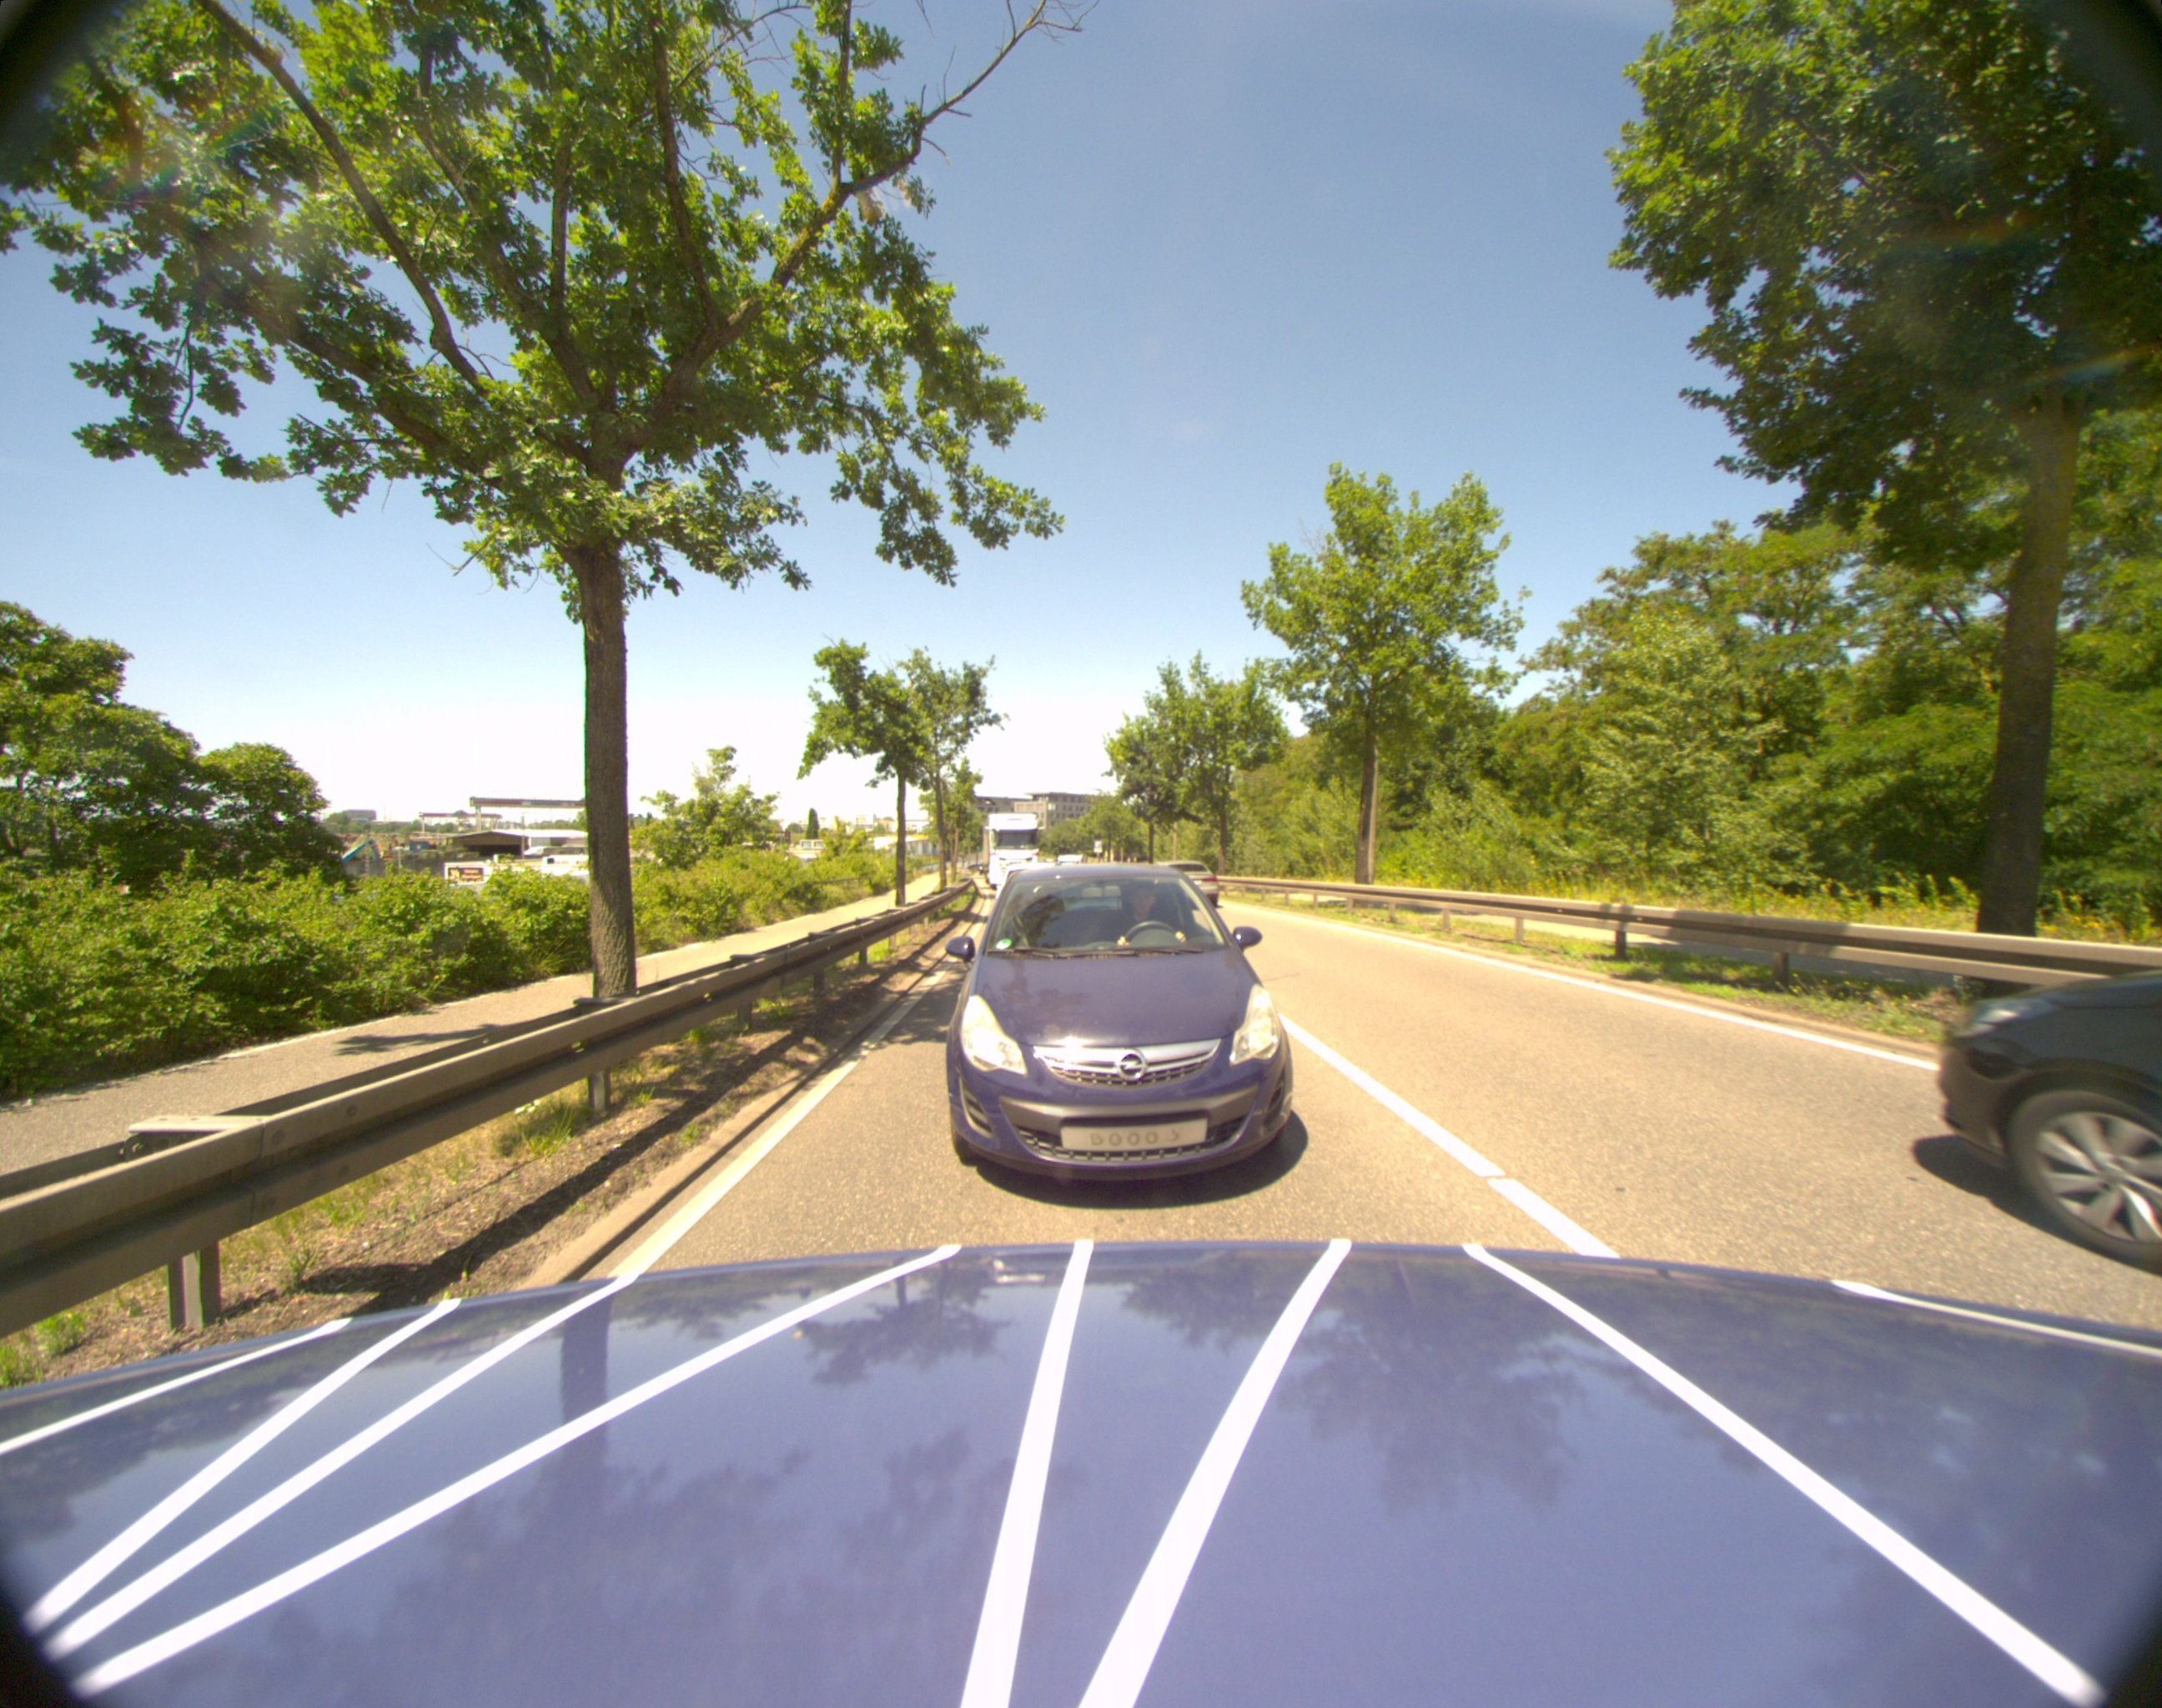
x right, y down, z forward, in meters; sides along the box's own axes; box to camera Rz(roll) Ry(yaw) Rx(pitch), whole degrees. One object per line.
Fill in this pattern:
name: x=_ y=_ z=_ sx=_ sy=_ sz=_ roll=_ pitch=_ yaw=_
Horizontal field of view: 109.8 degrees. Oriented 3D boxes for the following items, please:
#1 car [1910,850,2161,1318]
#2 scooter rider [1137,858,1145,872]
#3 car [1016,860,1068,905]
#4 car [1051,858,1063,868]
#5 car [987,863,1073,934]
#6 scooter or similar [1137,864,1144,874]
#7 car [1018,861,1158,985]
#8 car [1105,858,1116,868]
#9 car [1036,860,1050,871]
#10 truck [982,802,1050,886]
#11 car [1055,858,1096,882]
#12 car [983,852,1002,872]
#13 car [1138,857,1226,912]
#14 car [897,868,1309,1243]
car: x=4.255 y=0.732 z=1.225 sx=1.675 sy=1.457 sz=3.820 roll=-2 pitch=0 yaw=1
scooter rider: x=7.255 y=1.328 z=91.756 sx=0.778 sy=1.648 sz=1.121 roll=-2 pitch=1 yaw=6
car: x=-1.601 y=1.073 z=30.068 sx=1.781 sy=1.569 sz=3.997 roll=-2 pitch=0 yaw=-6
car: x=-3.456 y=1.338 z=110.488 sx=1.561 sy=1.364 sz=3.887 roll=-2 pitch=0 yaw=-3
car: x=-1.209 y=0.971 z=18.284 sx=1.781 sy=1.398 sz=3.998 roll=-2 pitch=0 yaw=-4
scooter or similar: x=7.235 y=1.796 z=91.764 sx=0.778 sy=1.085 sz=1.095 roll=-2 pitch=1 yaw=3
car: x=0.089 y=0.922 z=11.920 sx=1.780 sy=1.498 sz=3.896 roll=-2 pitch=0 yaw=0
car: x=5.041 y=1.451 z=129.620 sx=1.753 sy=1.546 sz=4.127 roll=-2 pitch=0 yaw=3
car: x=-7.193 y=2.168 z=143.579 sx=1.779 sy=2.002 sz=4.002 roll=-2 pitch=0 yaw=9
truck: x=-4.344 y=-0.522 z=46.652 sx=3.072 sy=4.146 sz=16.898 roll=-2 pitch=0 yaw=-8
car: x=-0.401 y=0.999 z=49.337 sx=1.825 sy=1.413 sz=4.462 roll=-2 pitch=0 yaw=-11
car: x=-9.228 y=0.810 z=78.814 sx=1.781 sy=2.002 sz=3.997 roll=-2 pitch=0 yaw=-8
car: x=2.940 y=0.848 z=23.034 sx=1.764 sy=1.388 sz=4.404 roll=-2 pitch=0 yaw=-4
car: x=0.081 y=0.899 z=5.181 sx=1.720 sy=1.455 sz=3.837 roll=-2 pitch=0 yaw=-1
